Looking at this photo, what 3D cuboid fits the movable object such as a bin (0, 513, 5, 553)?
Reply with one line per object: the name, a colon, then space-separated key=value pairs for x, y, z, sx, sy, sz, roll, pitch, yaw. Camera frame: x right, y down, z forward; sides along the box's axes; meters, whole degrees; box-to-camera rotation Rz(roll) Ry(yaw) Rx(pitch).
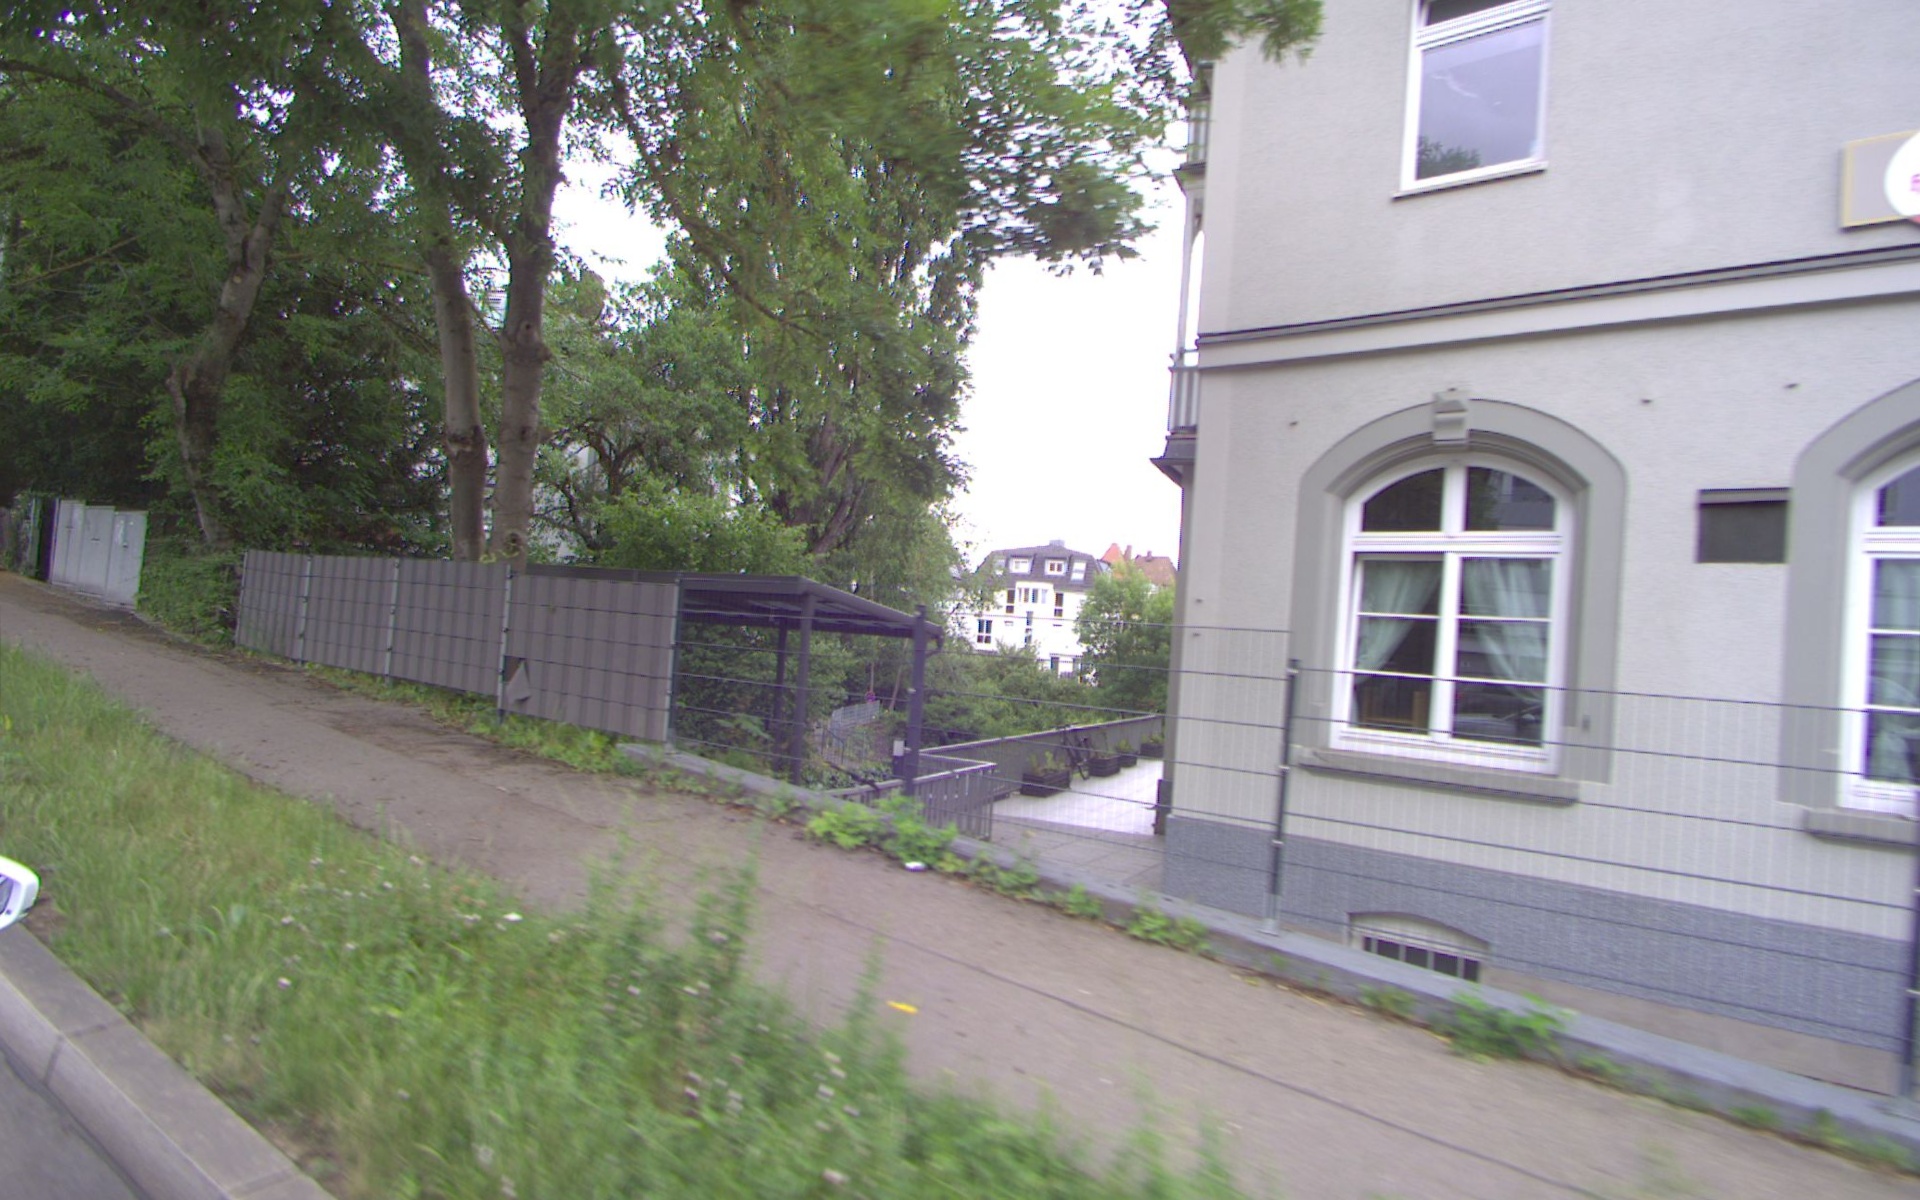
movable object such as a bin: x=-15.869 y=-0.969 z=16.175 sx=0.558 sy=0.958 sz=0.555 roll=7 pitch=-1 yaw=33
